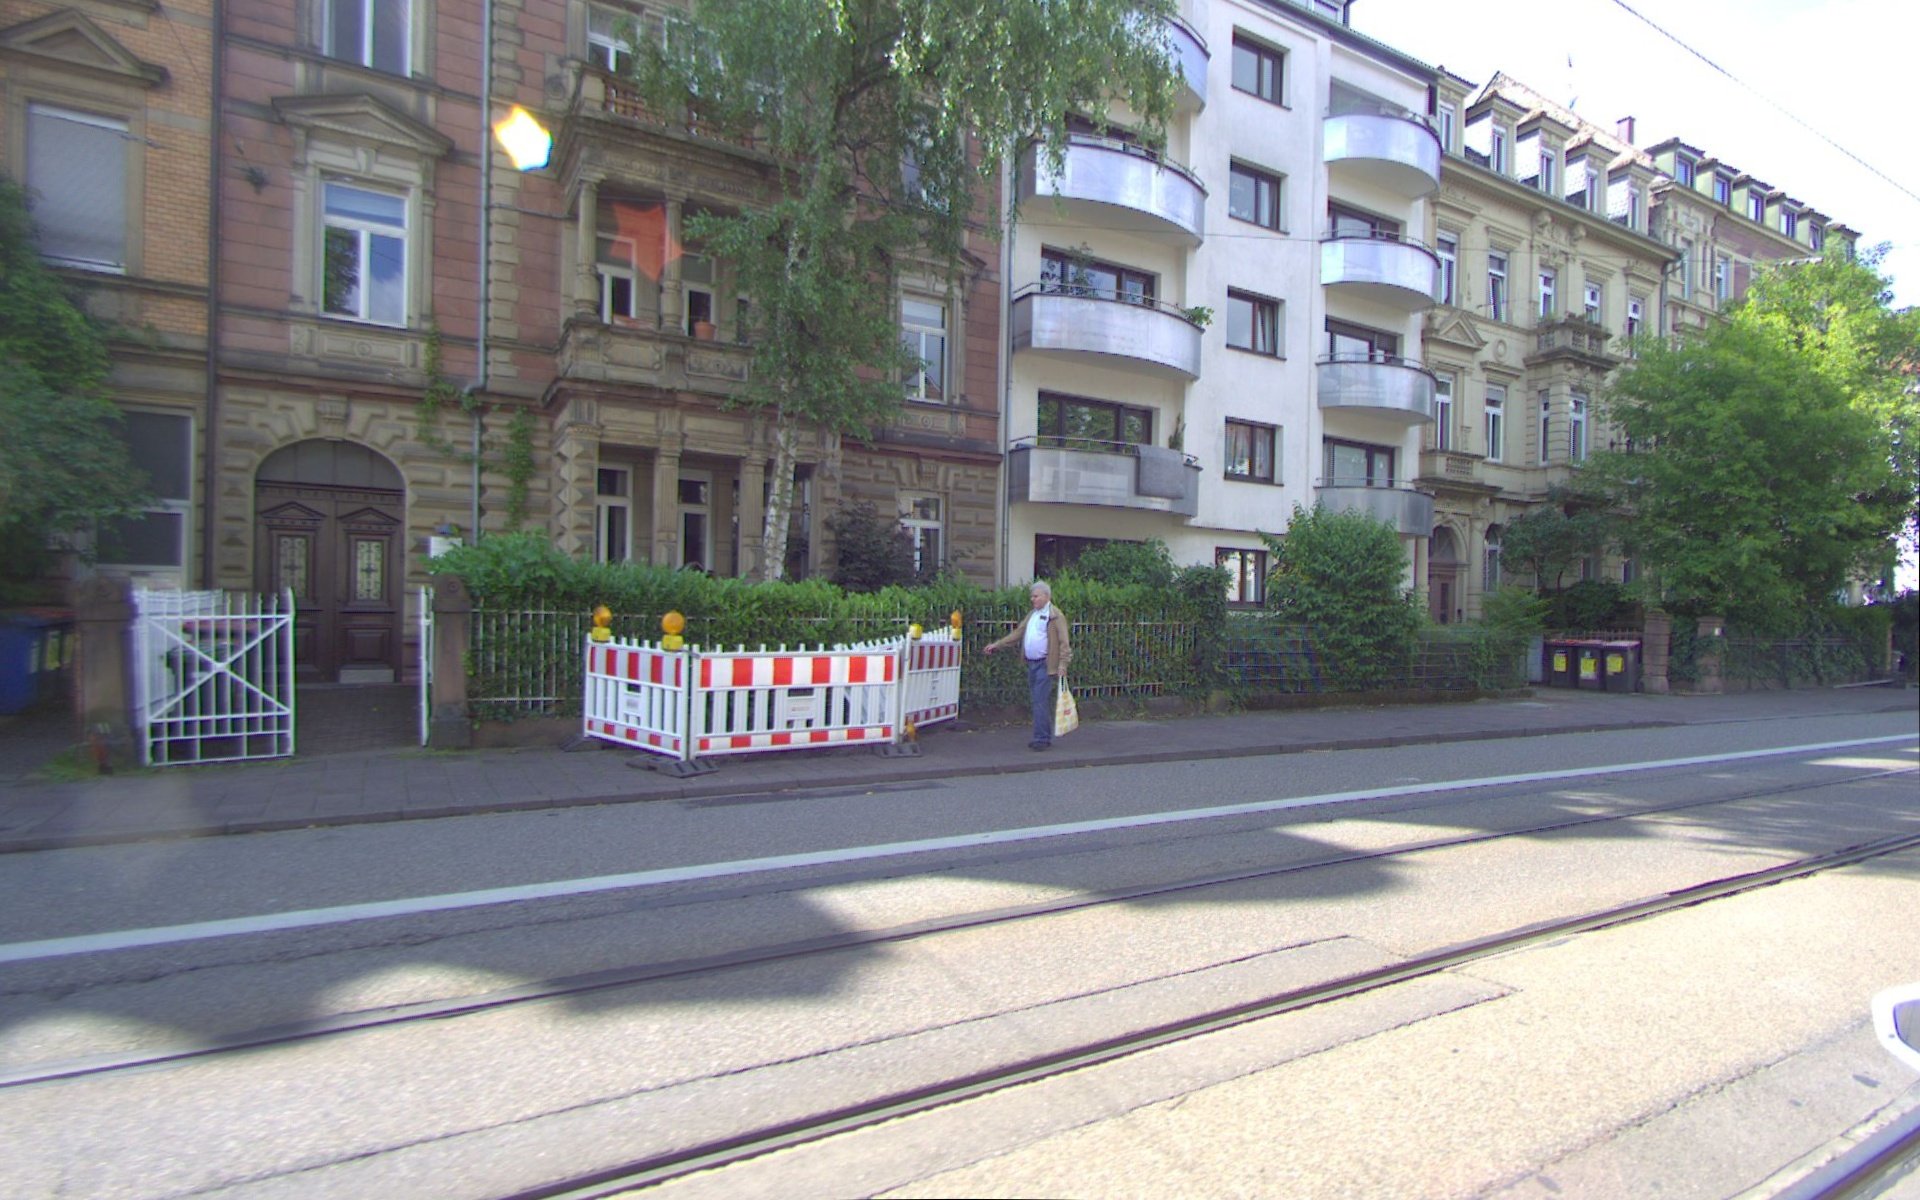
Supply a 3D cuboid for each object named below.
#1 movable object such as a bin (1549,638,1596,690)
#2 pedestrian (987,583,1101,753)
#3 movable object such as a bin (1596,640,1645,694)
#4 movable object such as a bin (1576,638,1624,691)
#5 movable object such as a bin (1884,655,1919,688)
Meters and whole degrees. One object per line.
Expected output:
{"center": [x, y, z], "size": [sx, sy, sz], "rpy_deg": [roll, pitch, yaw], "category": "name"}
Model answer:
{"center": [13.615, 1.411, 22.339], "size": [0.779, 1.123, 0.547], "rpy_deg": [2, 0, -26], "category": "movable object such as a bin"}
{"center": [0.898, 0.701, 10.820], "size": [0.882, 1.729, 0.817], "rpy_deg": [2, -1, -33], "category": "pedestrian"}
{"center": [13.981, 1.414, 21.264], "size": [0.779, 1.109, 0.536], "rpy_deg": [2, 0, -26], "category": "movable object such as a bin"}
{"center": [13.931, 1.396, 21.861], "size": [0.779, 1.123, 0.547], "rpy_deg": [2, 0, -26], "category": "movable object such as a bin"}
{"center": [26.201, 1.982, 27.951], "size": [0.609, 0.888, 0.559], "rpy_deg": [2, -1, -30], "category": "movable object such as a bin"}
